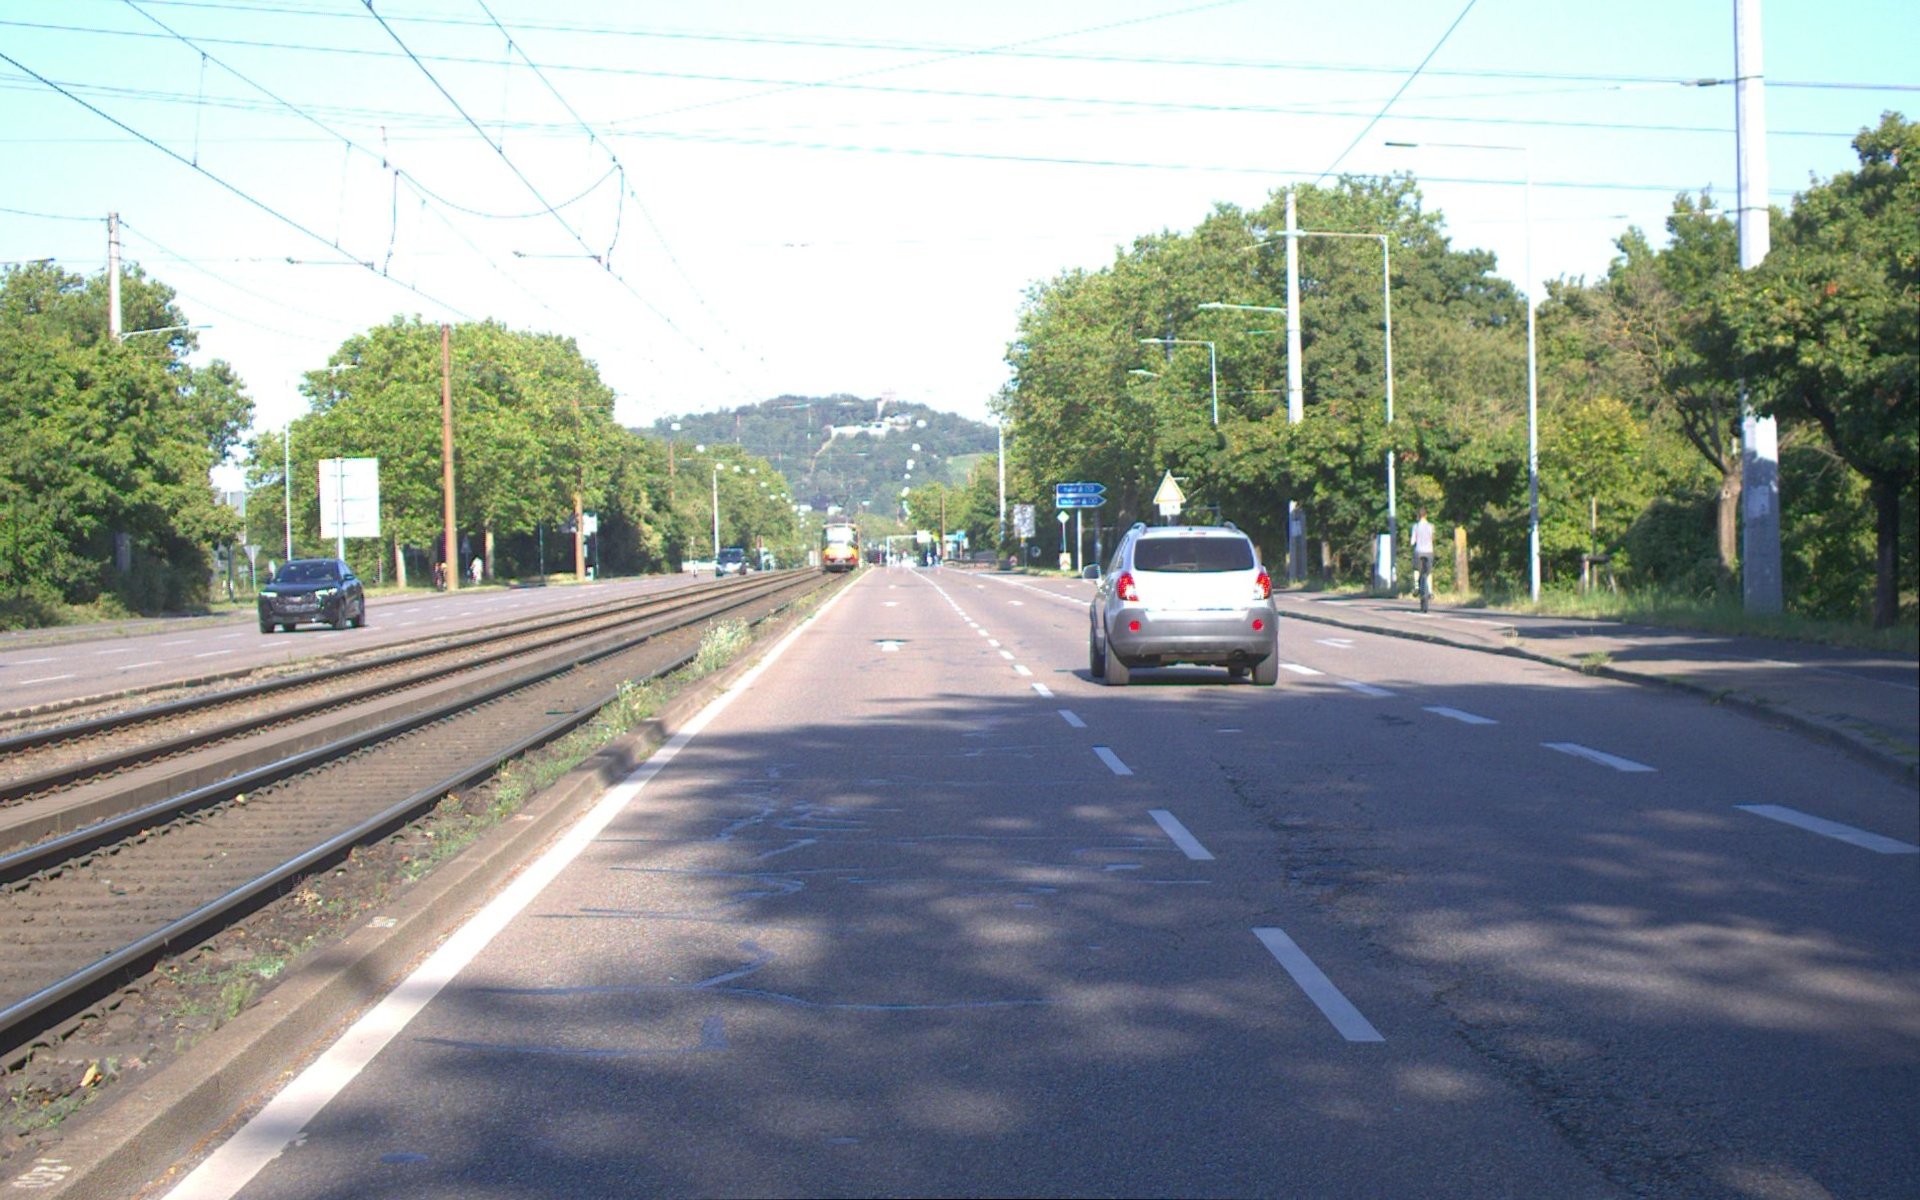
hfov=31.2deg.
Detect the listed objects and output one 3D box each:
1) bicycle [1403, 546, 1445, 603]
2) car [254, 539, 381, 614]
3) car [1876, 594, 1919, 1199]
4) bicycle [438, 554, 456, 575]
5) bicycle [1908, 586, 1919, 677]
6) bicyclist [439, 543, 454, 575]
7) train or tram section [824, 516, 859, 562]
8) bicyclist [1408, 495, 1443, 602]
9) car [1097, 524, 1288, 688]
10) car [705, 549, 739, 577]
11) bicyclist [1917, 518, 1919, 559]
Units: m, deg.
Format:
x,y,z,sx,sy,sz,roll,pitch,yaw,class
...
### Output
x,y,z,sx,sy,sz,roll,pitch,yaw,class
8.786,-0.493,65.175,0.527,1.057,1.971,1,1,0,bicycle
-14.820,-0.552,79.510,1.993,1.619,4.683,-2,1,0,car
3.034,0.719,5.671,1.876,1.438,4.660,-1,1,1,car
-25.303,-1.763,169.458,0.590,1.018,2.186,-1,1,-2,bicycle
9.136,0.278,31.042,0.627,0.831,1.635,-4,1,-1,bicycle
-25.313,-2.022,169.603,0.590,1.523,0.906,-1,0,-2,bicyclist
-8.528,-4.389,247.887,2.310,3.206,9.476,1,1,-1,train or tram section
8.789,-0.974,64.895,0.527,2.010,0.729,1,0,0,bicyclist
2.495,0.046,37.823,1.888,1.688,4.256,-1,1,1,car
-16.837,-2.594,243.529,1.993,1.916,4.860,-2,1,0,car
9.099,-0.036,30.819,0.627,1.466,1.060,-4,0,-1,bicyclist
